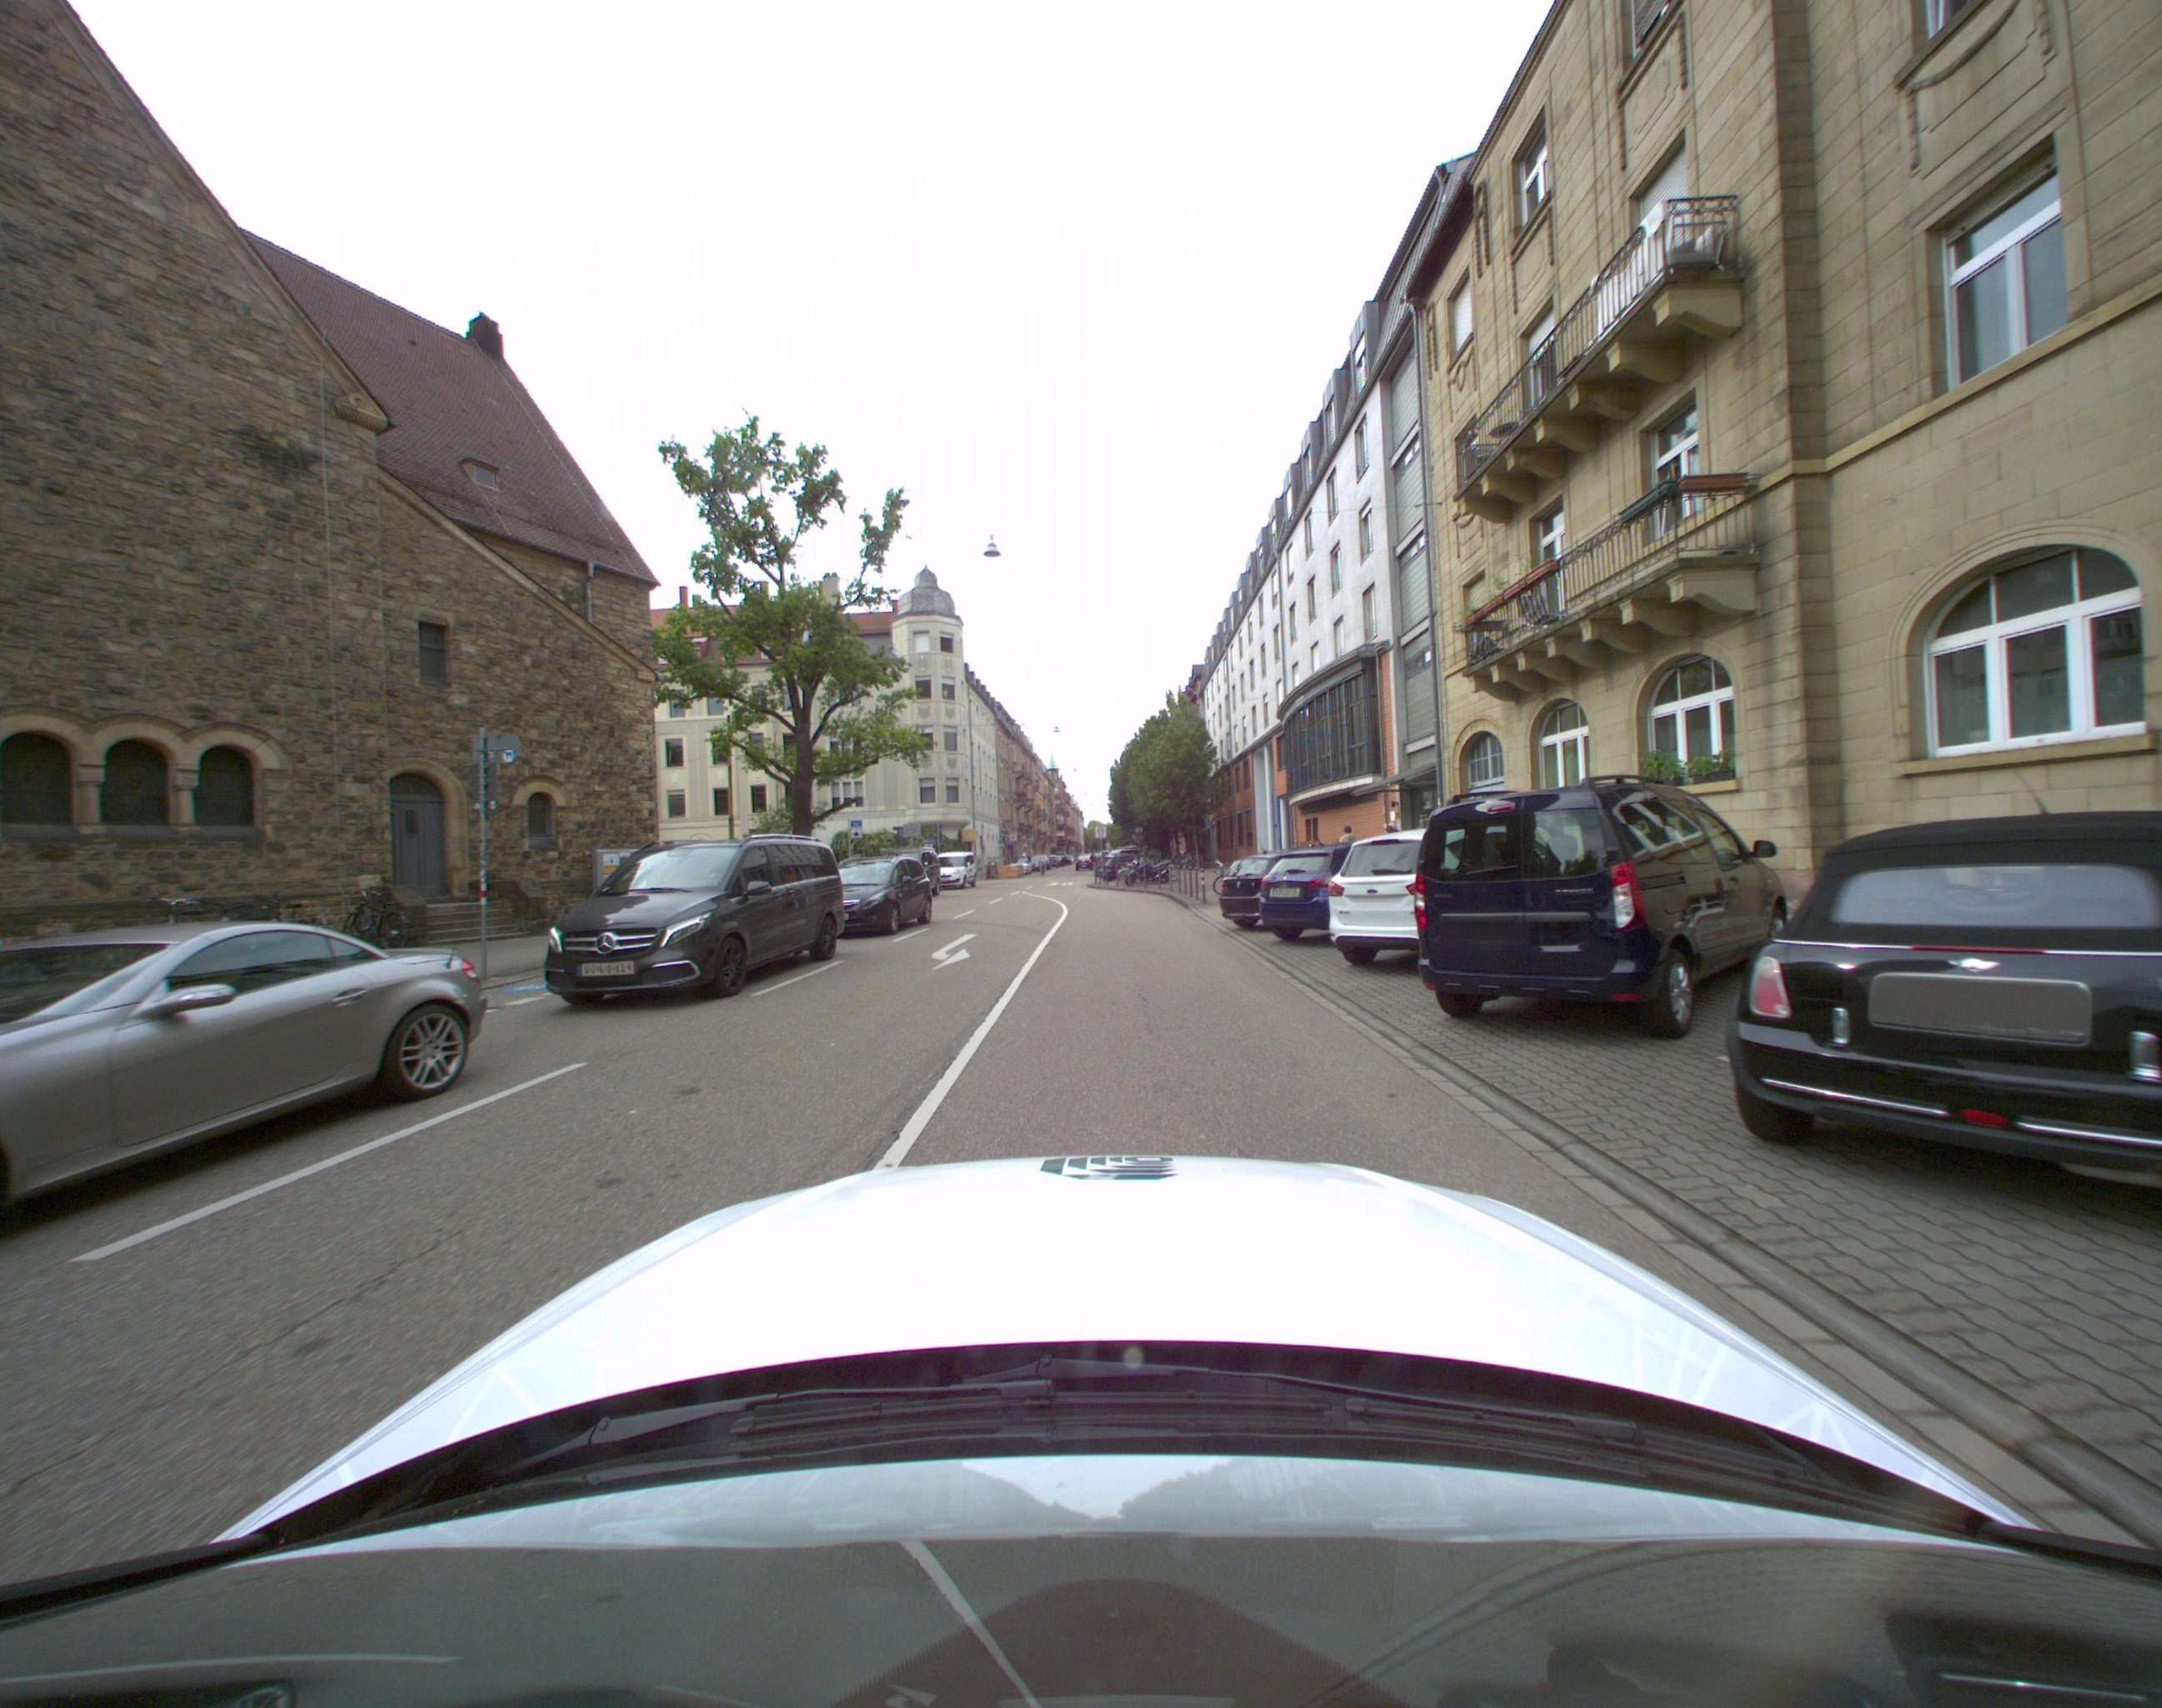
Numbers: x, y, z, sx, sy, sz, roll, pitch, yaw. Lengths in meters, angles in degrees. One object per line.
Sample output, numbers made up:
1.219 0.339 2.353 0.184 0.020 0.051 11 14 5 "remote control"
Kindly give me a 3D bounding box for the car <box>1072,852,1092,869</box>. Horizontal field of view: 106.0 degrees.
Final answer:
0.159 0.690 86.117 1.987 1.681 4.000 -1 -1 1 "car"

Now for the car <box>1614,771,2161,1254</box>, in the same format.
4.763 0.416 4.210 4.091 1.453 2.009 -6 0 -37 "car"

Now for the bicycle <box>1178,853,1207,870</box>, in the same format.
7.575 0.515 55.298 1.829 1.092 0.543 -1 -2 1 "bicycle"

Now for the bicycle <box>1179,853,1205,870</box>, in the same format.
7.707 0.519 56.721 1.746 1.092 0.565 -1 -2 1 "bicycle"

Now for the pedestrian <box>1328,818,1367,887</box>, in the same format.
7.107 -0.045 21.741 0.628 1.753 0.811 -5 0 -2 "pedestrian"

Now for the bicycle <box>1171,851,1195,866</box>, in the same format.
7.796 0.313 62.366 1.746 1.092 0.565 -1 -2 1 "bicycle"

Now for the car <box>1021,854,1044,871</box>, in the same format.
-4.890 0.845 82.265 1.937 1.617 3.944 -1 -1 2 "car"

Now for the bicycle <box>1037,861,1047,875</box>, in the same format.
-3.220 1.163 66.810 0.565 1.087 1.988 -2 0 3 "bicycle"

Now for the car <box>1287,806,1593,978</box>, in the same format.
4.603 0.343 10.200 4.020 1.601 1.745 -6 1 -38 "car"

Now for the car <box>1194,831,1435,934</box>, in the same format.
4.471 0.476 15.575 4.265 1.478 1.672 -5 1 -23 "car"

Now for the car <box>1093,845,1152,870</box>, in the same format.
4.063 0.353 79.239 5.646 2.127 1.930 -2 -1 -32 "car"

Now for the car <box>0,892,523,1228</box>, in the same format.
-5.303 0.970 4.298 1.697 1.286 4.045 -4 -1 3 "car"

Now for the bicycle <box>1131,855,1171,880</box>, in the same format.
3.435 0.663 40.250 1.878 1.141 0.611 -3 -2 -2 "bicycle"

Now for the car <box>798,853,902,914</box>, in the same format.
-7.154 0.848 25.710 1.836 1.688 4.434 -1 0 1 "car"

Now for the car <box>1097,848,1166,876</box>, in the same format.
3.287 0.541 53.212 4.072 1.585 1.885 -3 -1 -30 "car"

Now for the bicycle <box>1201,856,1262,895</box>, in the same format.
4.614 0.677 24.981 0.734 1.104 1.716 -3 0 -39 "bicycle"

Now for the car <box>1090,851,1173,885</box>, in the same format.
2.848 0.795 45.574 4.302 1.578 1.845 -4 0 -32 "car"

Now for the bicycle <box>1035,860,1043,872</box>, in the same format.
-3.742 1.080 72.001 0.533 0.977 1.865 -1 -1 1 "bicycle"

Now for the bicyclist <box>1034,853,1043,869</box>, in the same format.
-3.756 0.639 72.007 0.666 1.399 0.783 -1 -2 -1 "bicyclist"

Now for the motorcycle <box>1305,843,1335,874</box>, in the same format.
9.353 0.181 31.962 0.599 1.144 2.071 -3 0 2 "motorcycle"

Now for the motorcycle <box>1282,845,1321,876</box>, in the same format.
9.254 0.256 34.216 1.024 1.202 2.210 -3 0 1 "motorcycle"

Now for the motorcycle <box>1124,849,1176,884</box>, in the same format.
3.024 0.545 35.605 2.128 1.429 0.770 -3 -2 -2 "motorcycle"

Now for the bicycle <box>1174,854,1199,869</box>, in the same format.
7.905 0.556 60.960 1.746 1.092 0.565 -1 -2 1 "bicycle"

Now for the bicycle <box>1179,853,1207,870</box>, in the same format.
7.720 0.526 56.090 1.829 1.092 0.565 -1 -2 1 "bicycle"

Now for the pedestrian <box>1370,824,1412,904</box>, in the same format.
6.731 0.222 17.687 0.517 1.662 0.716 -3 -2 -2 "pedestrian"

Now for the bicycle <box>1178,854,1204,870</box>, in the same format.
7.768 0.540 57.503 1.746 1.092 0.565 -1 -2 1 "bicycle"

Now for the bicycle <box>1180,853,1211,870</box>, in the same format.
7.589 0.497 53.882 1.926 1.092 0.577 -1 -2 1 "bicycle"

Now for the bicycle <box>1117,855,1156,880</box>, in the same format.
2.790 0.696 41.317 1.878 1.141 0.611 -3 -2 -2 "bicycle"

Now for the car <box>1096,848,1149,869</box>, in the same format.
4.486 0.494 87.270 5.424 1.992 1.930 -2 -1 -32 "car"

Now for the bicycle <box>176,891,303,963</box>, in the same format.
-14.063 1.209 13.615 1.765 1.130 0.664 -2 0 14 "bicycle"

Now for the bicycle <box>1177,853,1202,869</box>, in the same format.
7.733 0.536 58.110 1.746 1.092 0.565 -1 -2 1 "bicycle"

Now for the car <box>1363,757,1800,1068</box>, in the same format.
4.528 0.237 7.073 4.305 1.906 1.858 -5 1 -40 "car"

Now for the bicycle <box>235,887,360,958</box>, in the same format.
-13.848 1.198 14.398 1.765 1.166 0.744 -2 0 14 "bicycle"

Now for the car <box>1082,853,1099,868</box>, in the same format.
1.188 0.832 98.851 1.987 1.681 4.000 -1 -1 1 "car"

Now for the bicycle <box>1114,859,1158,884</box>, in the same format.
2.542 0.793 37.577 1.924 1.043 0.611 -3 -2 -2 "bicycle"

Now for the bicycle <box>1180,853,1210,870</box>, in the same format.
7.604 0.495 54.488 1.888 1.092 0.543 -1 -2 1 "bicycle"

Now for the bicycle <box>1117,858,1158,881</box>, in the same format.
2.714 0.749 39.215 1.878 1.043 0.611 -3 -2 -2 "bicycle"

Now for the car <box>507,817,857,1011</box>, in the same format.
-4.852 0.614 11.046 1.904 1.954 5.287 -1 0 2 "car"

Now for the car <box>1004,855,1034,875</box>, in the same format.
-5.366 0.953 70.606 1.935 1.553 3.822 -3 -1 4 "car"

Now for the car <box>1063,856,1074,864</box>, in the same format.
-2.239 1.064 148.351 1.988 1.321 3.997 -1 -1 -1 "car"

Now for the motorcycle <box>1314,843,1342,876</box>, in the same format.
9.033 0.190 29.798 0.595 1.144 1.893 -3 -1 27 "motorcycle"

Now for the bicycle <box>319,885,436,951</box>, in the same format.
-13.114 1.183 15.188 1.765 1.152 0.744 -2 0 14 "bicycle"

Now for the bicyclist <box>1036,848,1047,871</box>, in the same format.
-3.218 0.460 67.054 0.779 1.866 0.715 -2 0 3 "bicyclist"

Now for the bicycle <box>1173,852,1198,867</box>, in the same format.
7.918 0.448 61.709 1.746 1.092 0.565 -1 -2 1 "bicycle"

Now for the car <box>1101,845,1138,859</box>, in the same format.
6.052 -0.267 127.015 5.418 1.868 1.932 -3 -1 -28 "car"

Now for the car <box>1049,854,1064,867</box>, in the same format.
-3.474 0.906 115.818 1.937 1.742 3.944 -1 -1 2 "car"

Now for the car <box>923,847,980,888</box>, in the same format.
-6.525 0.644 41.521 1.835 1.939 4.552 -1 0 4 "car"

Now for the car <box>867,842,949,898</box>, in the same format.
-6.852 0.585 32.779 2.006 2.014 5.185 -1 0 2 "car"

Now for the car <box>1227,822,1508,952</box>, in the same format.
4.552 0.437 12.913 4.010 1.533 1.915 -5 1 -28 "car"

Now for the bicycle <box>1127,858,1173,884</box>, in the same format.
3.114 0.751 36.780 2.003 1.062 0.611 -3 -2 -2 "bicycle"

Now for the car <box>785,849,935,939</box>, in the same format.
-4.660 0.769 17.909 1.837 1.684 4.551 -1 0 2 "car"
